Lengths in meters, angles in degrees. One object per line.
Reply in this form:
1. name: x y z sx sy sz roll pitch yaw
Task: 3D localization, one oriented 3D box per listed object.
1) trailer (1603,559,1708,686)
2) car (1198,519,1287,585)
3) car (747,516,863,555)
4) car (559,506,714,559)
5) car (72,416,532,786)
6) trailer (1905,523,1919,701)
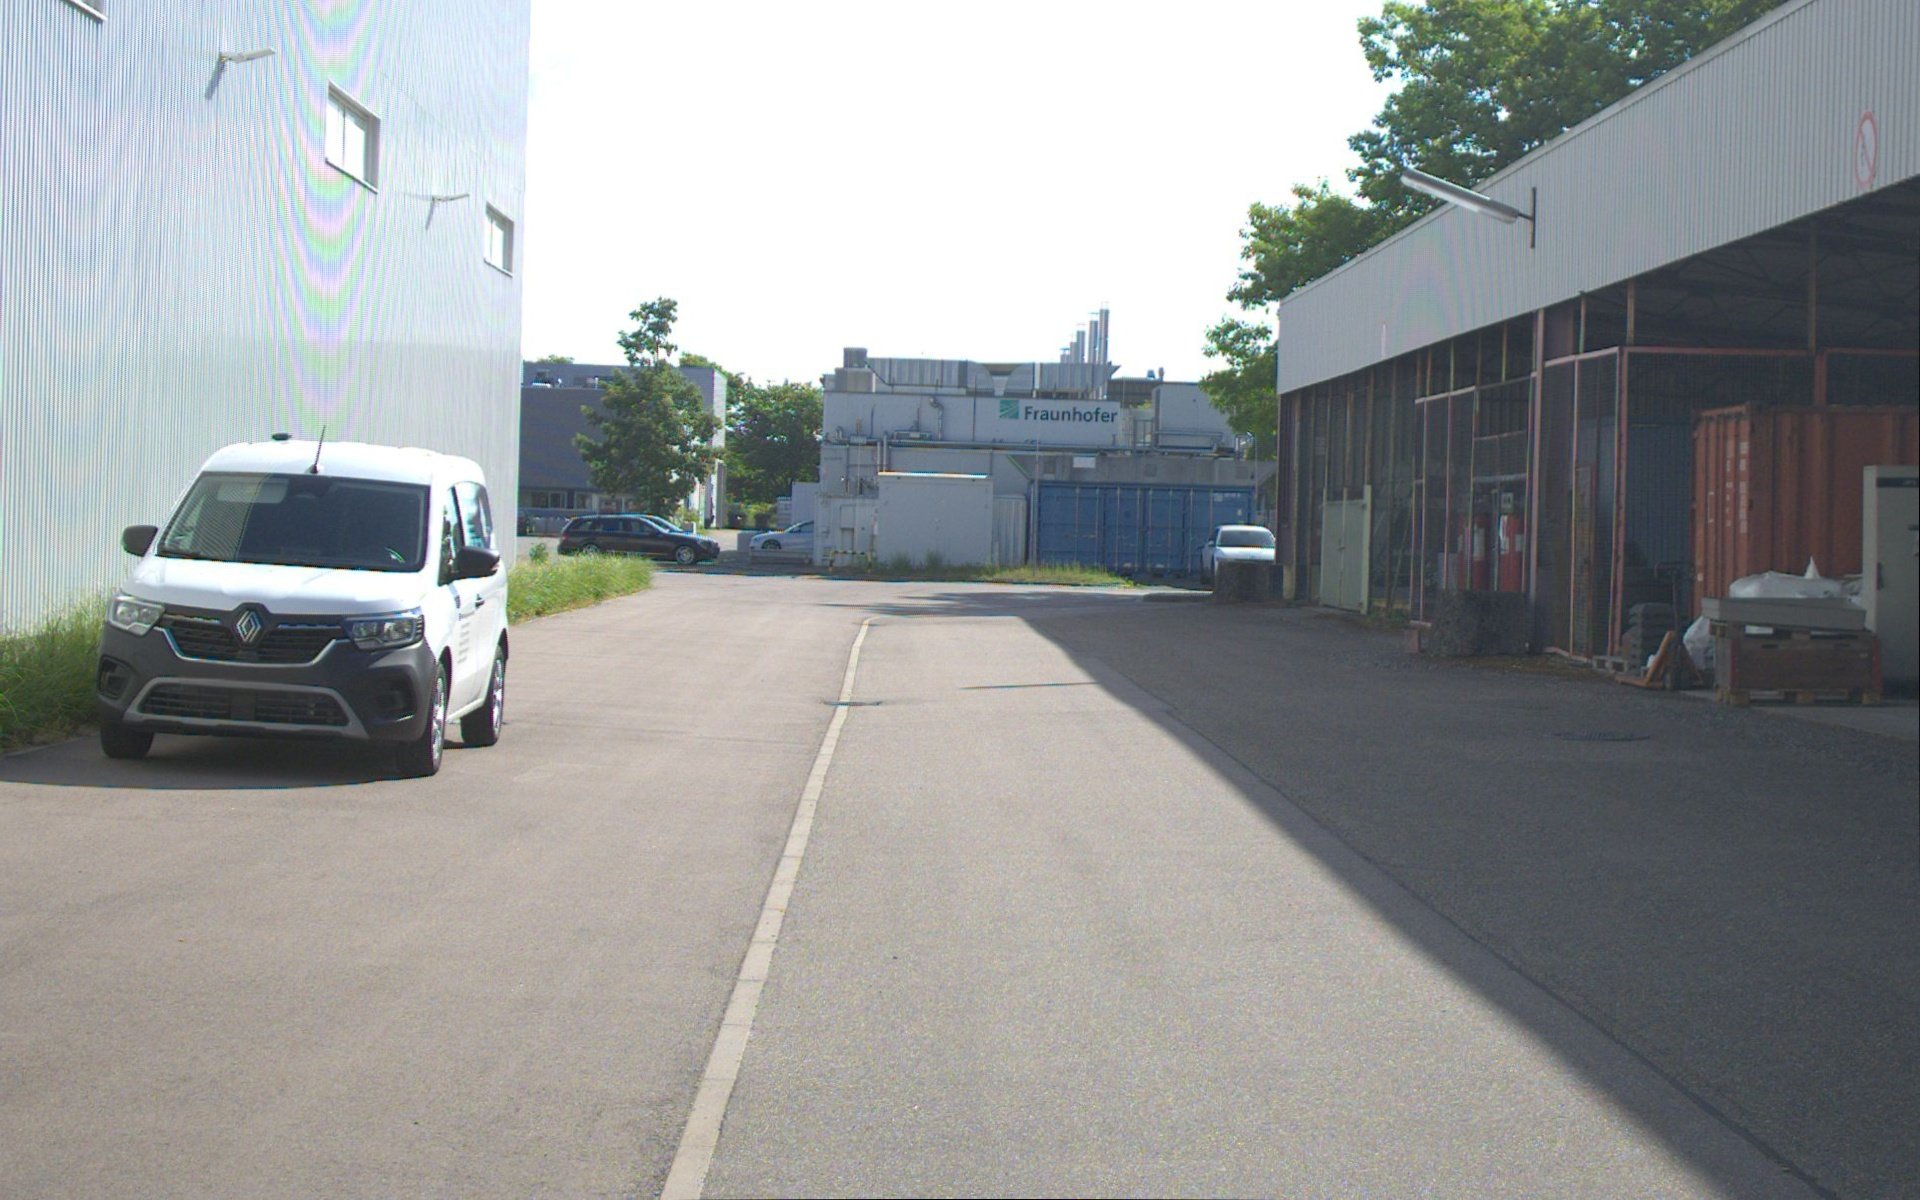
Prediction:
1. trailer: 6.254 0.188 30.975 0.551 1.114 1.547 0 1 -3
2. car: 7.333 -1.271 89.547 1.979 1.597 4.378 0 3 1
3. car: -5.827 -2.433 129.766 4.302 1.452 1.824 0 1 -1
4. car: -9.558 -2.005 101.834 4.447 1.525 1.824 0 1 -1
5. car: -3.664 -0.032 19.947 1.783 1.809 4.602 3 1 -1
6. trailer: 8.900 0.114 27.888 2.038 1.461 1.738 0 1 3
